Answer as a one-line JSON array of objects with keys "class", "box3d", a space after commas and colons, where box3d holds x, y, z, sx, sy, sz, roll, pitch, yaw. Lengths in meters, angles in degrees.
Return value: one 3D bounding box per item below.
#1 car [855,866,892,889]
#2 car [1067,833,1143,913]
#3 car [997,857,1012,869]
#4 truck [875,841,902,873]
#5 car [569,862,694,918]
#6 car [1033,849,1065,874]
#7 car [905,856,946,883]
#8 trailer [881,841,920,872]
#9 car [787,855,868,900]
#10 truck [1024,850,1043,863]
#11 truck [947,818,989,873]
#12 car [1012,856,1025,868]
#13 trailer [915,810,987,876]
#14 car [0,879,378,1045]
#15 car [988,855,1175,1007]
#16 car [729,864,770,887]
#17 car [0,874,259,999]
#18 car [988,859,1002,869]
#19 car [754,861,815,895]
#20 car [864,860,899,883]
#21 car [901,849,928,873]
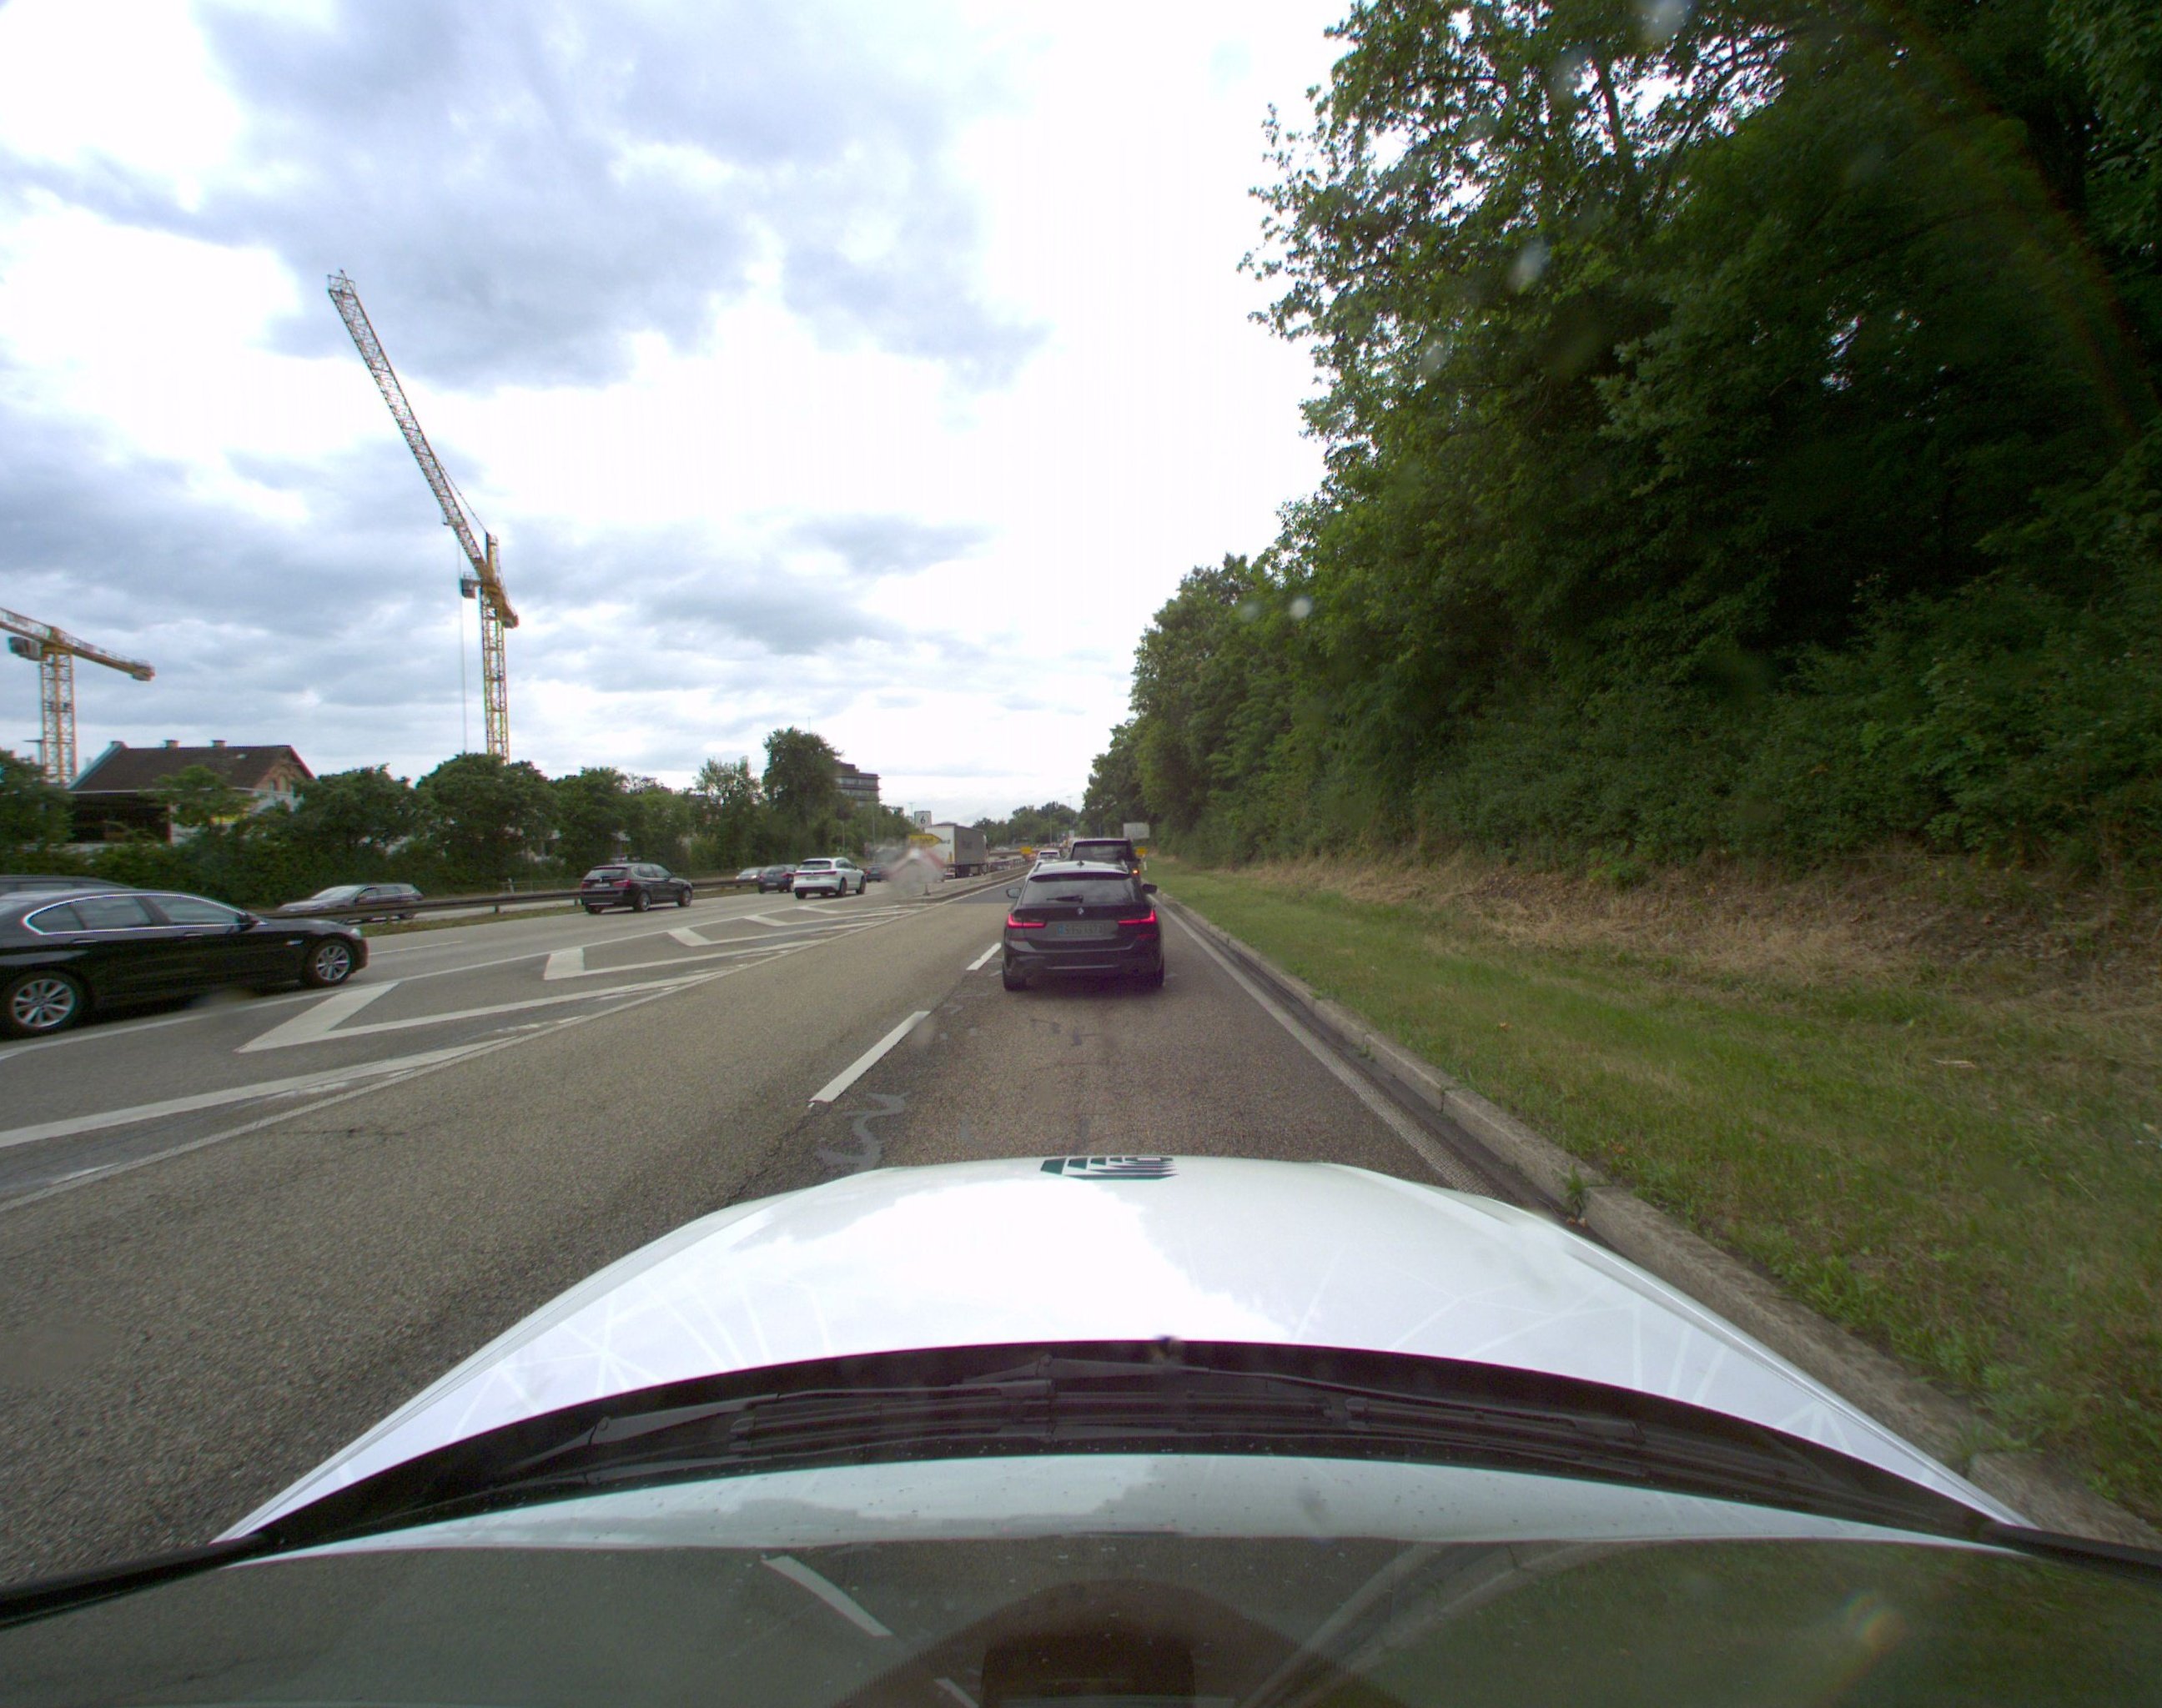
[{"class": "car", "box3d": [-13.300, 1.464, 52.413, 1.380, 1.306, 3.352, -2, 0, 2]}, {"class": "car", "box3d": [0.636, 0.458, 21.696, 1.789, 1.872, 4.002, -2, 0, 2]}, {"class": "car", "box3d": [-9.774, 1.147, 104.347, 1.372, 1.398, 3.063, -2, 0, 2]}, {"class": "truck", "box3d": [-24.951, 0.336, 105.594, 2.398, 4.020, 3.999, -2, 0, -1]}, {"class": "car", "box3d": [-15.561, 1.191, 28.485, 1.884, 1.681, 4.306, -2, 0, 0]}, {"class": "car", "box3d": [-2.251, 0.513, 57.907, 1.923, 1.596, 3.879, -2, 0, 3]}, {"class": "car", "box3d": [-9.660, 0.922, 50.807, 1.763, 1.549, 3.492, -2, 0, 0]}, {"class": "trailer", "box3d": [-24.995, 0.321, 113.627, 2.390, 4.029, 13.074, -2, 0, 0]}, {"class": "car", "box3d": [-10.816, 0.956, 35.114, 1.939, 1.692, 4.508, -2, 0, 1]}, {"class": "truck", "box3d": [-9.880, 0.535, 170.654, 3.263, 2.509, 7.662, -2, 0, 1]}, {"class": "truck", "box3d": [-10.113, -0.746, 73.339, 3.073, 4.697, 4.233, -1, 0, 1]}, {"class": "car", "box3d": [-8.871, 1.132, 115.100, 1.442, 1.490, 3.063, -2, 0, 2]}, {"class": "trailer", "box3d": [-10.284, -0.776, 66.484, 3.121, 4.725, 14.562, -1, 0, 1]}, {"class": "car", "box3d": [-11.166, 1.123, 9.463, 1.705, 1.456, 4.671, -2, 0, 3]}, {"class": "car", "box3d": [0.005, 0.775, 10.209, 1.840, 1.466, 3.999, -2, 0, 0]}, {"class": "car", "box3d": [-26.159, 1.664, 64.324, 1.682, 1.632, 3.734, -1, 0, 0]}, {"class": "car", "box3d": [-15.779, 1.204, 12.566, 1.745, 1.635, 4.268, -2, 0, 2]}, {"class": "car", "box3d": [-13.317, 1.551, 126.046, 1.587, 1.432, 3.063, -2, 0, 2]}, {"class": "car", "box3d": [-15.573, 1.226, 42.941, 1.682, 1.608, 4.008, -1, 0, 0]}, {"class": "car", "box3d": [-15.080, 1.267, 61.679, 1.682, 1.632, 3.734, -1, 0, 0]}, {"class": "car", "box3d": [-14.805, 0.579, 72.619, 1.438, 2.044, 3.682, -2, 0, 2]}]
